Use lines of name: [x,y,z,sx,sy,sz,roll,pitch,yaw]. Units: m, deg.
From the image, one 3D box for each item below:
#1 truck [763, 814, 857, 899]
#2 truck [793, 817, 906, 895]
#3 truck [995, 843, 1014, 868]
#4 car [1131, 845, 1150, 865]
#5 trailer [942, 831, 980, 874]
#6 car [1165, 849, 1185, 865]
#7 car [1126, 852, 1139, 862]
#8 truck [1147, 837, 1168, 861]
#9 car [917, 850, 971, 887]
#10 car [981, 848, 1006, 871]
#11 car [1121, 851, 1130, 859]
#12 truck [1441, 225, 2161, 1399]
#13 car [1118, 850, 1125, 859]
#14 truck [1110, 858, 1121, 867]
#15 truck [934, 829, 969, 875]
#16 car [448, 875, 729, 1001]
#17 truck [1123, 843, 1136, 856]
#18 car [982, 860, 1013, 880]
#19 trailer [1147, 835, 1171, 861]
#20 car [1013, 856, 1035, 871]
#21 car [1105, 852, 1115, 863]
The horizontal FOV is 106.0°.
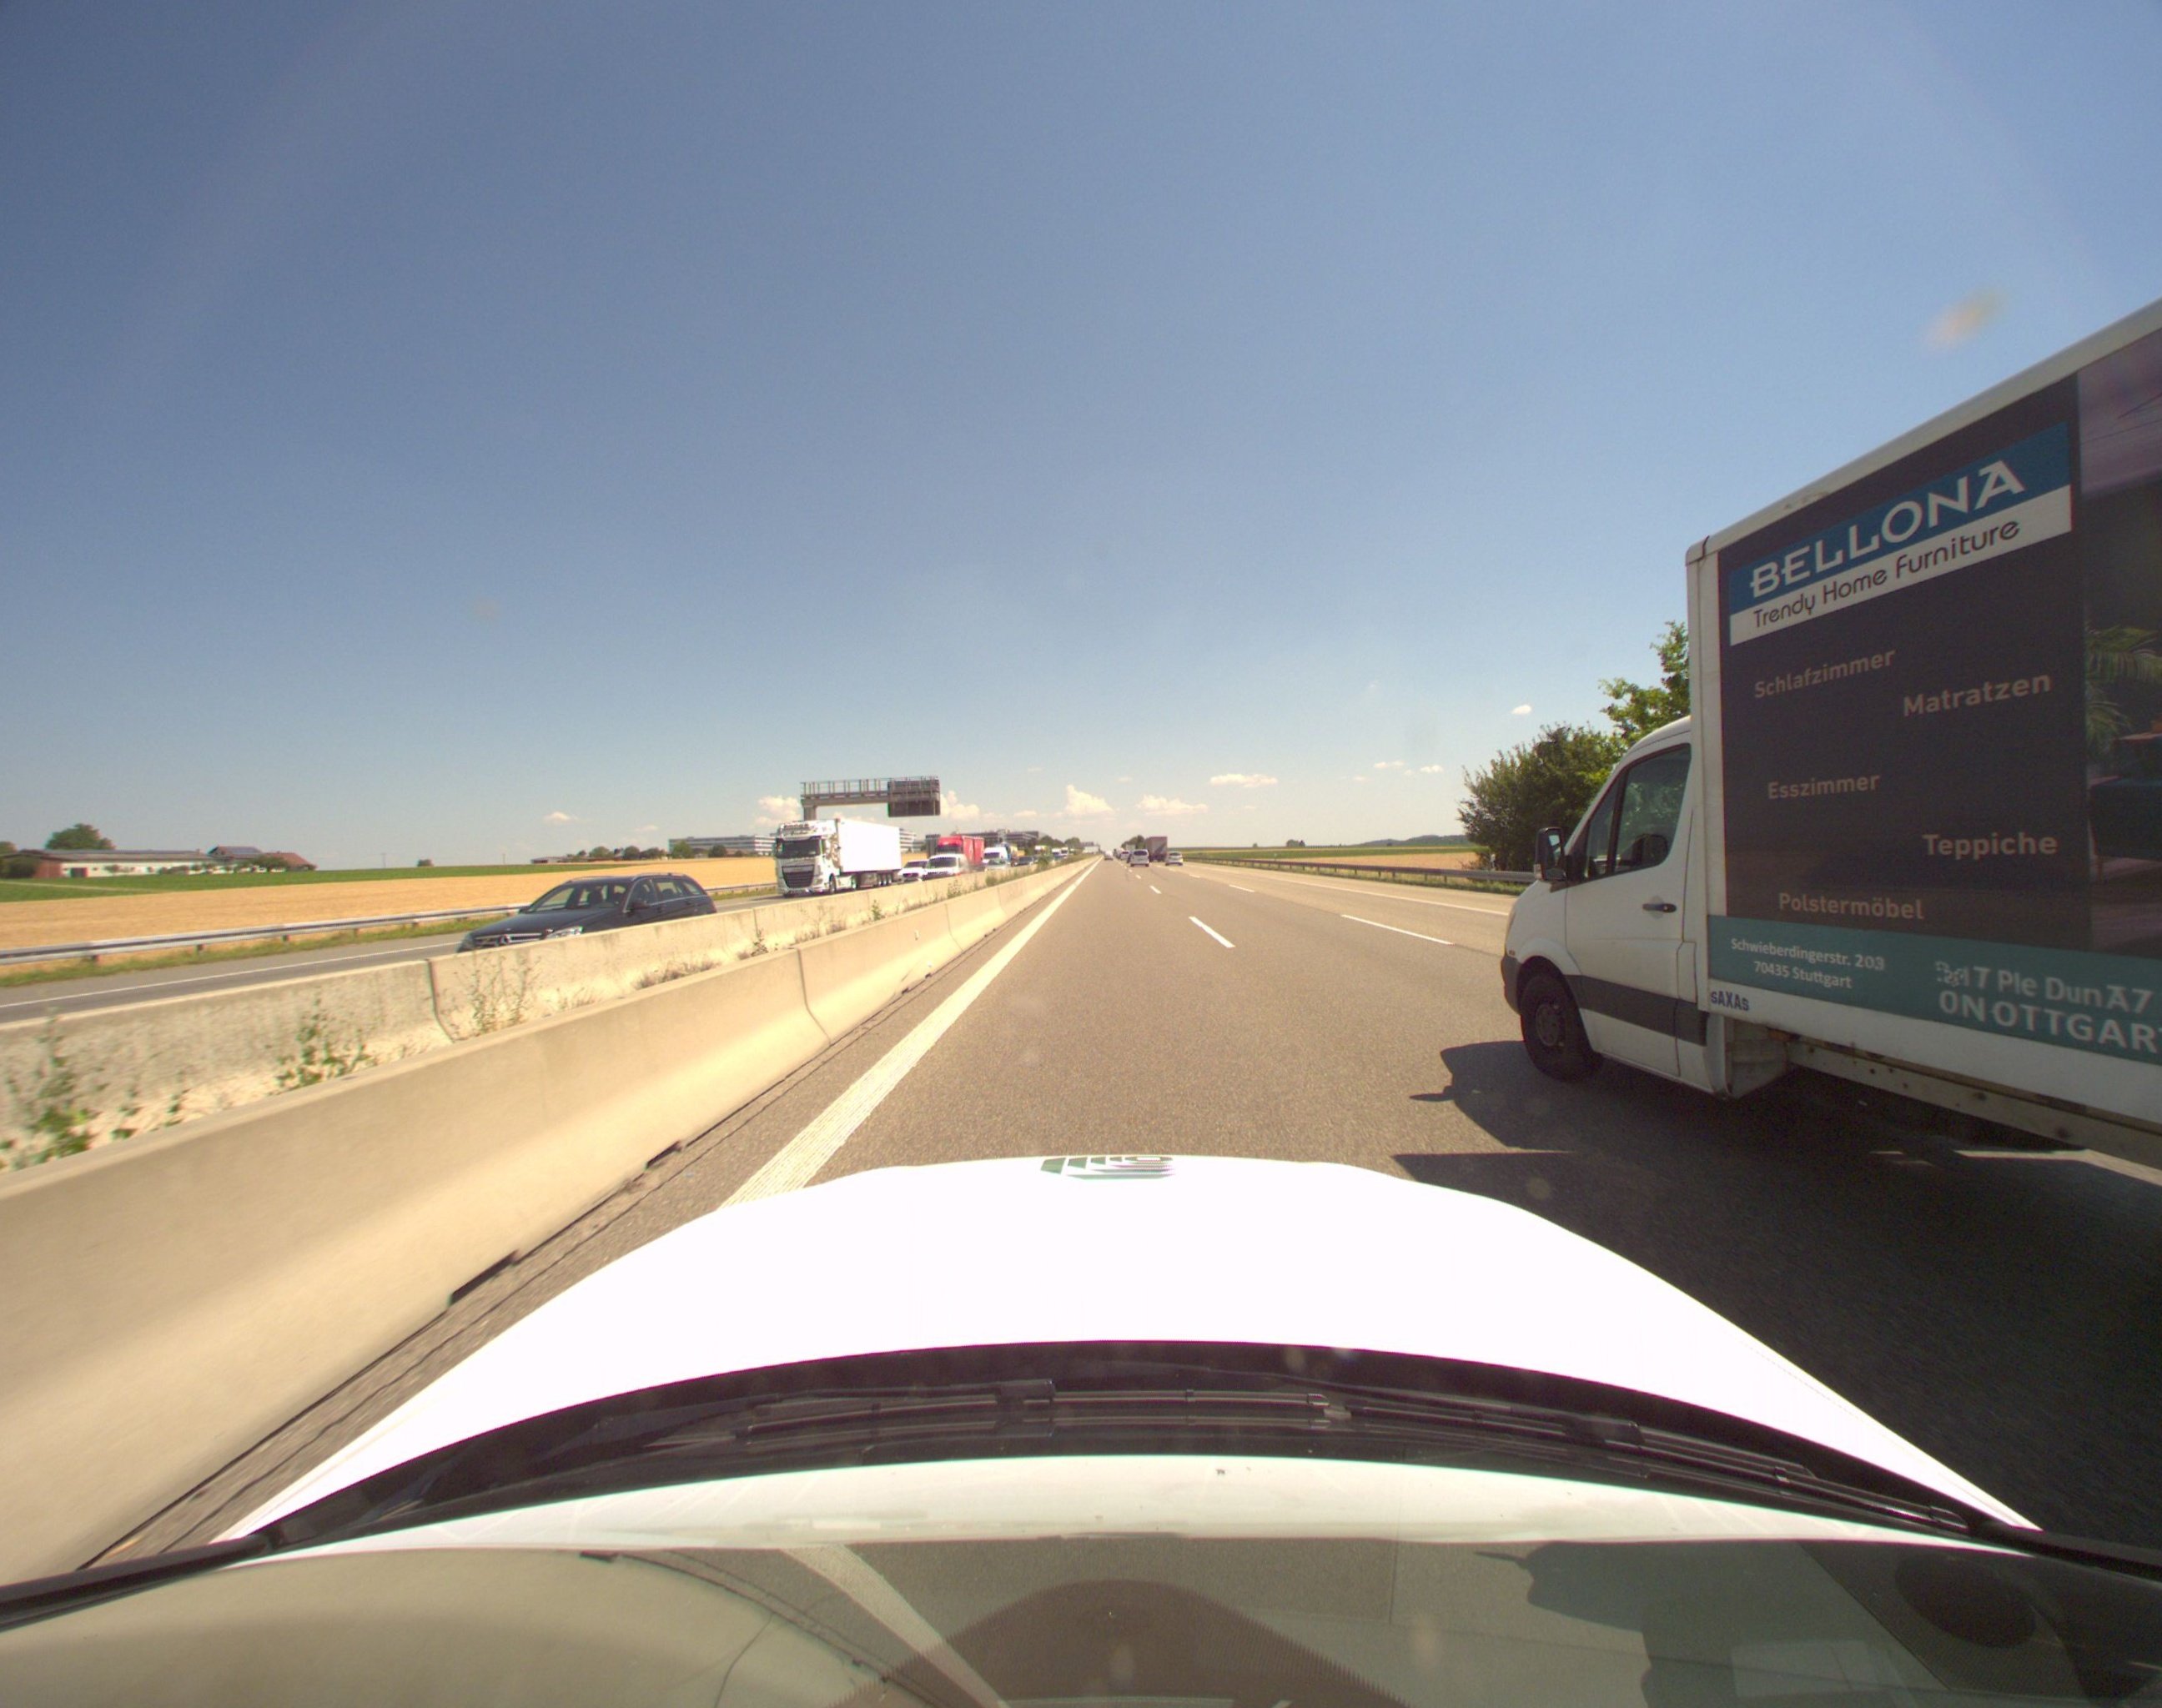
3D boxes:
truck: [-14.454,0.105,43.908,2.939,4.158,5.473,-3,0,1]
truck: [-14.258,0.087,51.729,2.939,4.158,12.870,-3,0,1]
truck: [-11.654,0.179,124.858,2.102,3.600,7.122,-2,0,1]
car: [6.498,0.108,89.306,1.986,2.120,4.001,-1,-1,2]
trailer: [-13.516,-0.213,92.586,2.766,4.598,8.603,-2,0,1]
car: [10.868,0.367,94.408,1.986,1.794,4.001,-1,-1,2]
car: [7.620,0.443,120.434,1.766,1.447,4.001,-1,-1,2]
truck: [12.934,-0.778,138.049,3.258,3.967,4.914,-1,-1,2]
car: [-6.980,0.714,42.002,1.810,1.753,4.994,-2,0,1]
car: [-9.197,0.538,85.610,1.853,2.336,5.708,-2,0,1]
car: [9.165,0.209,167.084,1.766,1.447,4.001,-1,-1,2]
truck: [4.002,-0.114,3.176,2.312,3.067,6.752,0,0,1]
car: [11.098,0.140,221.381,1.766,2.392,4.001,-1,-1,2]
truck: [7.955,1.928,188.367,2.204,2.013,4.972,-2,0,1]
truck: [-13.636,-0.204,86.081,2.766,4.598,4.724,-2,0,1]
car: [-7.406,1.160,12.879,1.667,1.487,4.398,-2,0,1]
truck: [15.279,-1.364,256.417,3.802,3.905,9.583,-2,0,2]
car: [-6.145,1.133,60.453,1.810,1.350,3.774,-2,0,1]
trailer: [12.794,-0.862,133.774,3.265,3.967,9.116,-1,-1,2]
car: [-5.485,0.885,78.547,1.712,1.350,3.774,-2,0,1]
car: [5.966,0.725,167.263,1.986,2.014,4.001,-1,-1,2]
